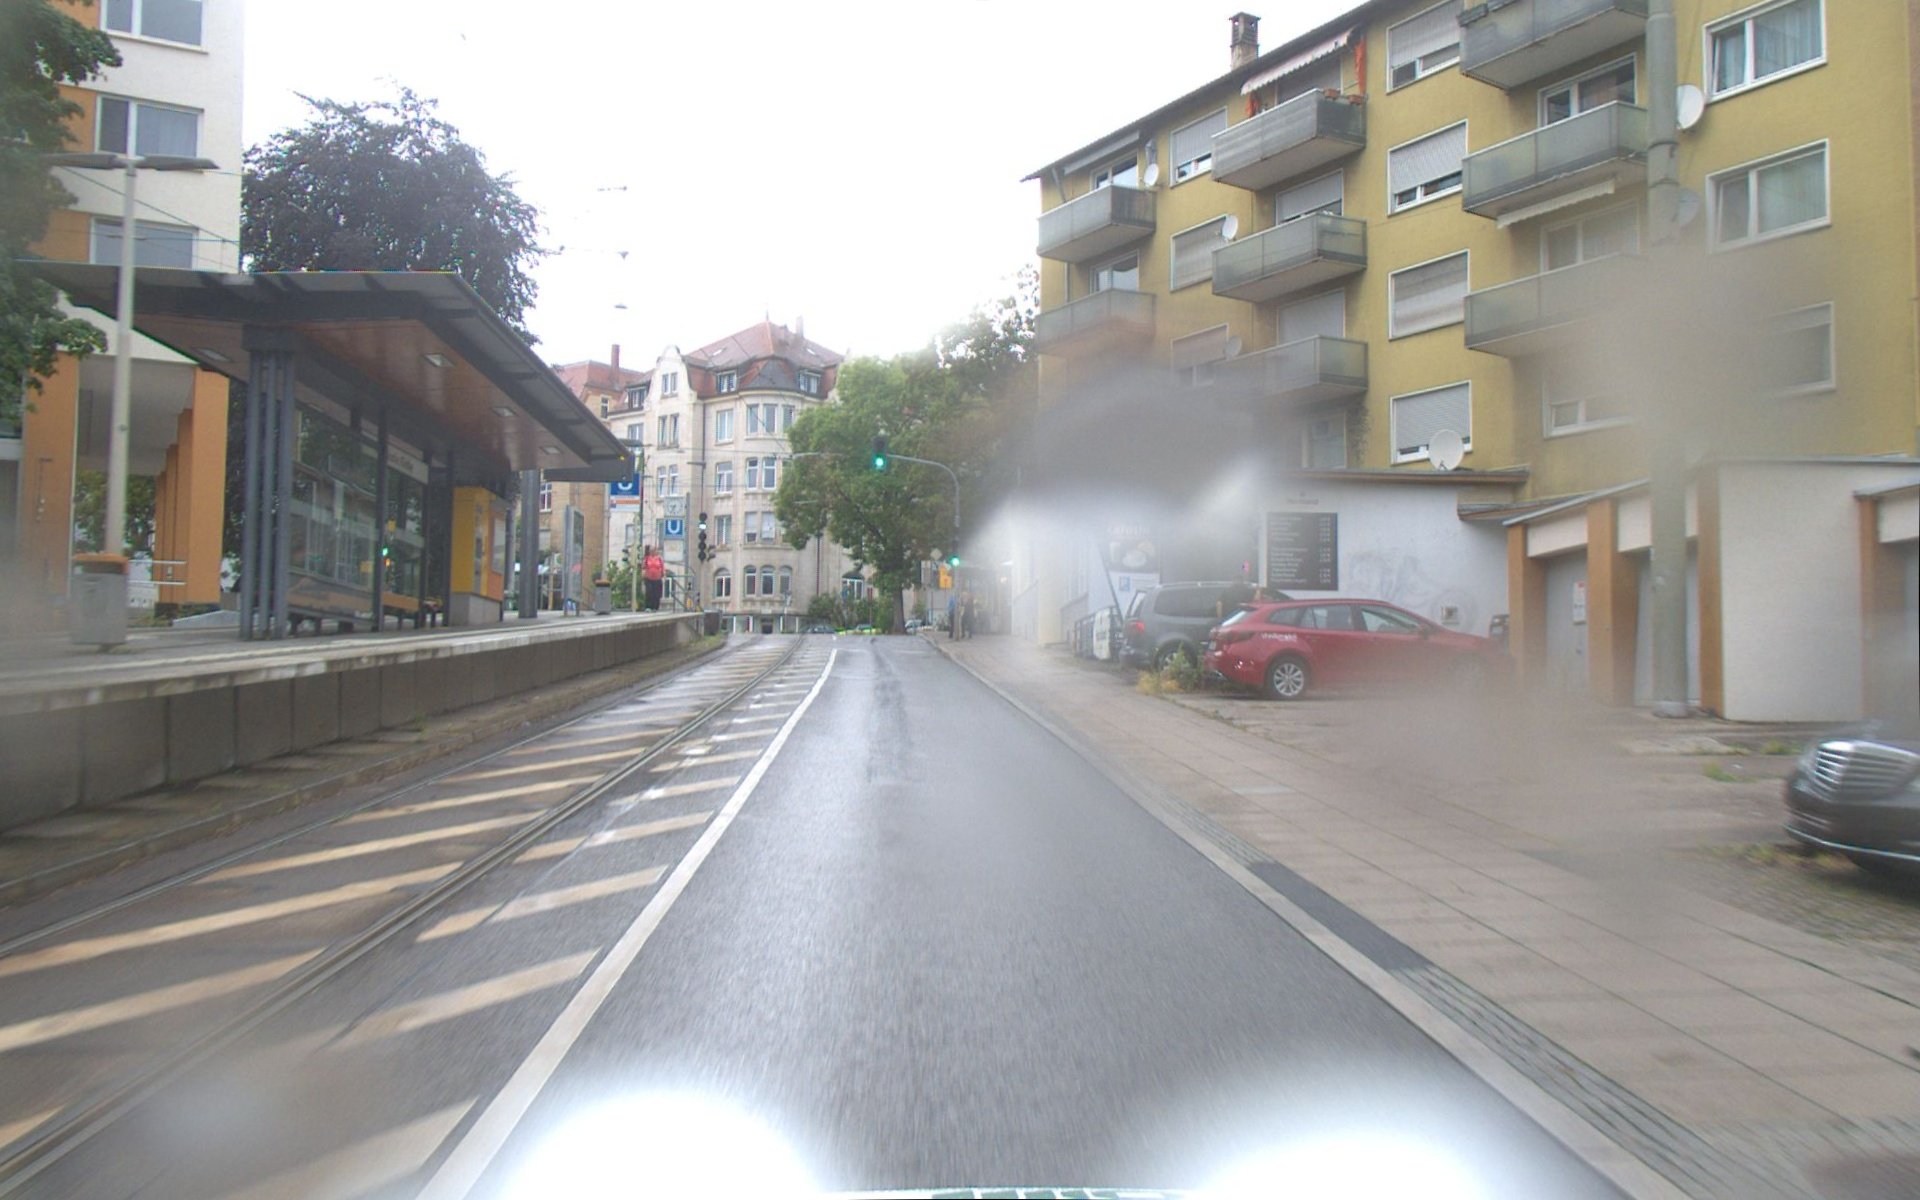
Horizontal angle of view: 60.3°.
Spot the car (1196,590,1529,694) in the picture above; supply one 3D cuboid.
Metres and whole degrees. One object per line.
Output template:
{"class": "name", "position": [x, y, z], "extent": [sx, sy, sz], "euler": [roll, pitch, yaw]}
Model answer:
{"class": "car", "position": [5.889, 0.591, 24.505], "extent": [4.478, 1.463, 1.764], "euler": [0, 0, -4]}

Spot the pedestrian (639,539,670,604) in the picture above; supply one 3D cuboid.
{"class": "pedestrian", "position": [-7.489, -0.692, 40.569], "extent": [0.658, 1.575, 0.771], "euler": [1, 1, -4]}

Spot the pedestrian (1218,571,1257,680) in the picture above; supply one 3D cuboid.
{"class": "pedestrian", "position": [4.489, 0.404, 26.782], "extent": [0.593, 1.744, 0.722], "euler": [-1, 0, 10]}

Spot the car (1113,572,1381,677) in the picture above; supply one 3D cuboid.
{"class": "car", "position": [4.819, 0.402, 28.130], "extent": [4.240, 1.703, 1.780], "euler": [0, 0, -1]}

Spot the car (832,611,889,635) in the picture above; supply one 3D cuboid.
{"class": "car", "position": [-6.711, 1.539, 112.016], "extent": [1.708, 1.534, 3.645], "euler": [-1, -1, 44]}

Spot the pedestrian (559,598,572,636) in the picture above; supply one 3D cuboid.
{"class": "pedestrian", "position": [-17.945, 0.768, 75.259], "extent": [0.558, 1.714, 0.773], "euler": [0, -2, -11]}

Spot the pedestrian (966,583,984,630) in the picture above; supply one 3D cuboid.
{"class": "pedestrian", "position": [0.507, 0.210, 55.320], "extent": [0.535, 1.581, 0.558], "euler": [-1, 0, -6]}

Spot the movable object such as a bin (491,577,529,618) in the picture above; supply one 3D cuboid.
{"class": "movable object such as a bin", "position": [-16.987, -0.094, 62.501], "extent": [1.000, 1.459, 1.444], "euler": [3, 0, -2]}

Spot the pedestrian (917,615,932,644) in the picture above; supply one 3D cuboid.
{"class": "pedestrian", "position": [-2.065, 1.734, 96.667], "extent": [0.540, 1.658, 0.594], "euler": [3, 0, -37]}

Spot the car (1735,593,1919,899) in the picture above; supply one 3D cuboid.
{"class": "car", "position": [6.992, 0.825, 8.783], "extent": [4.833, 1.462, 1.973], "euler": [3, -1, -3]}

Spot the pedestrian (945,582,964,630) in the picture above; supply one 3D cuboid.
{"class": "pedestrian", "position": [-0.184, 0.187, 54.988], "extent": [0.576, 1.581, 0.649], "euler": [-1, 0, -4]}
